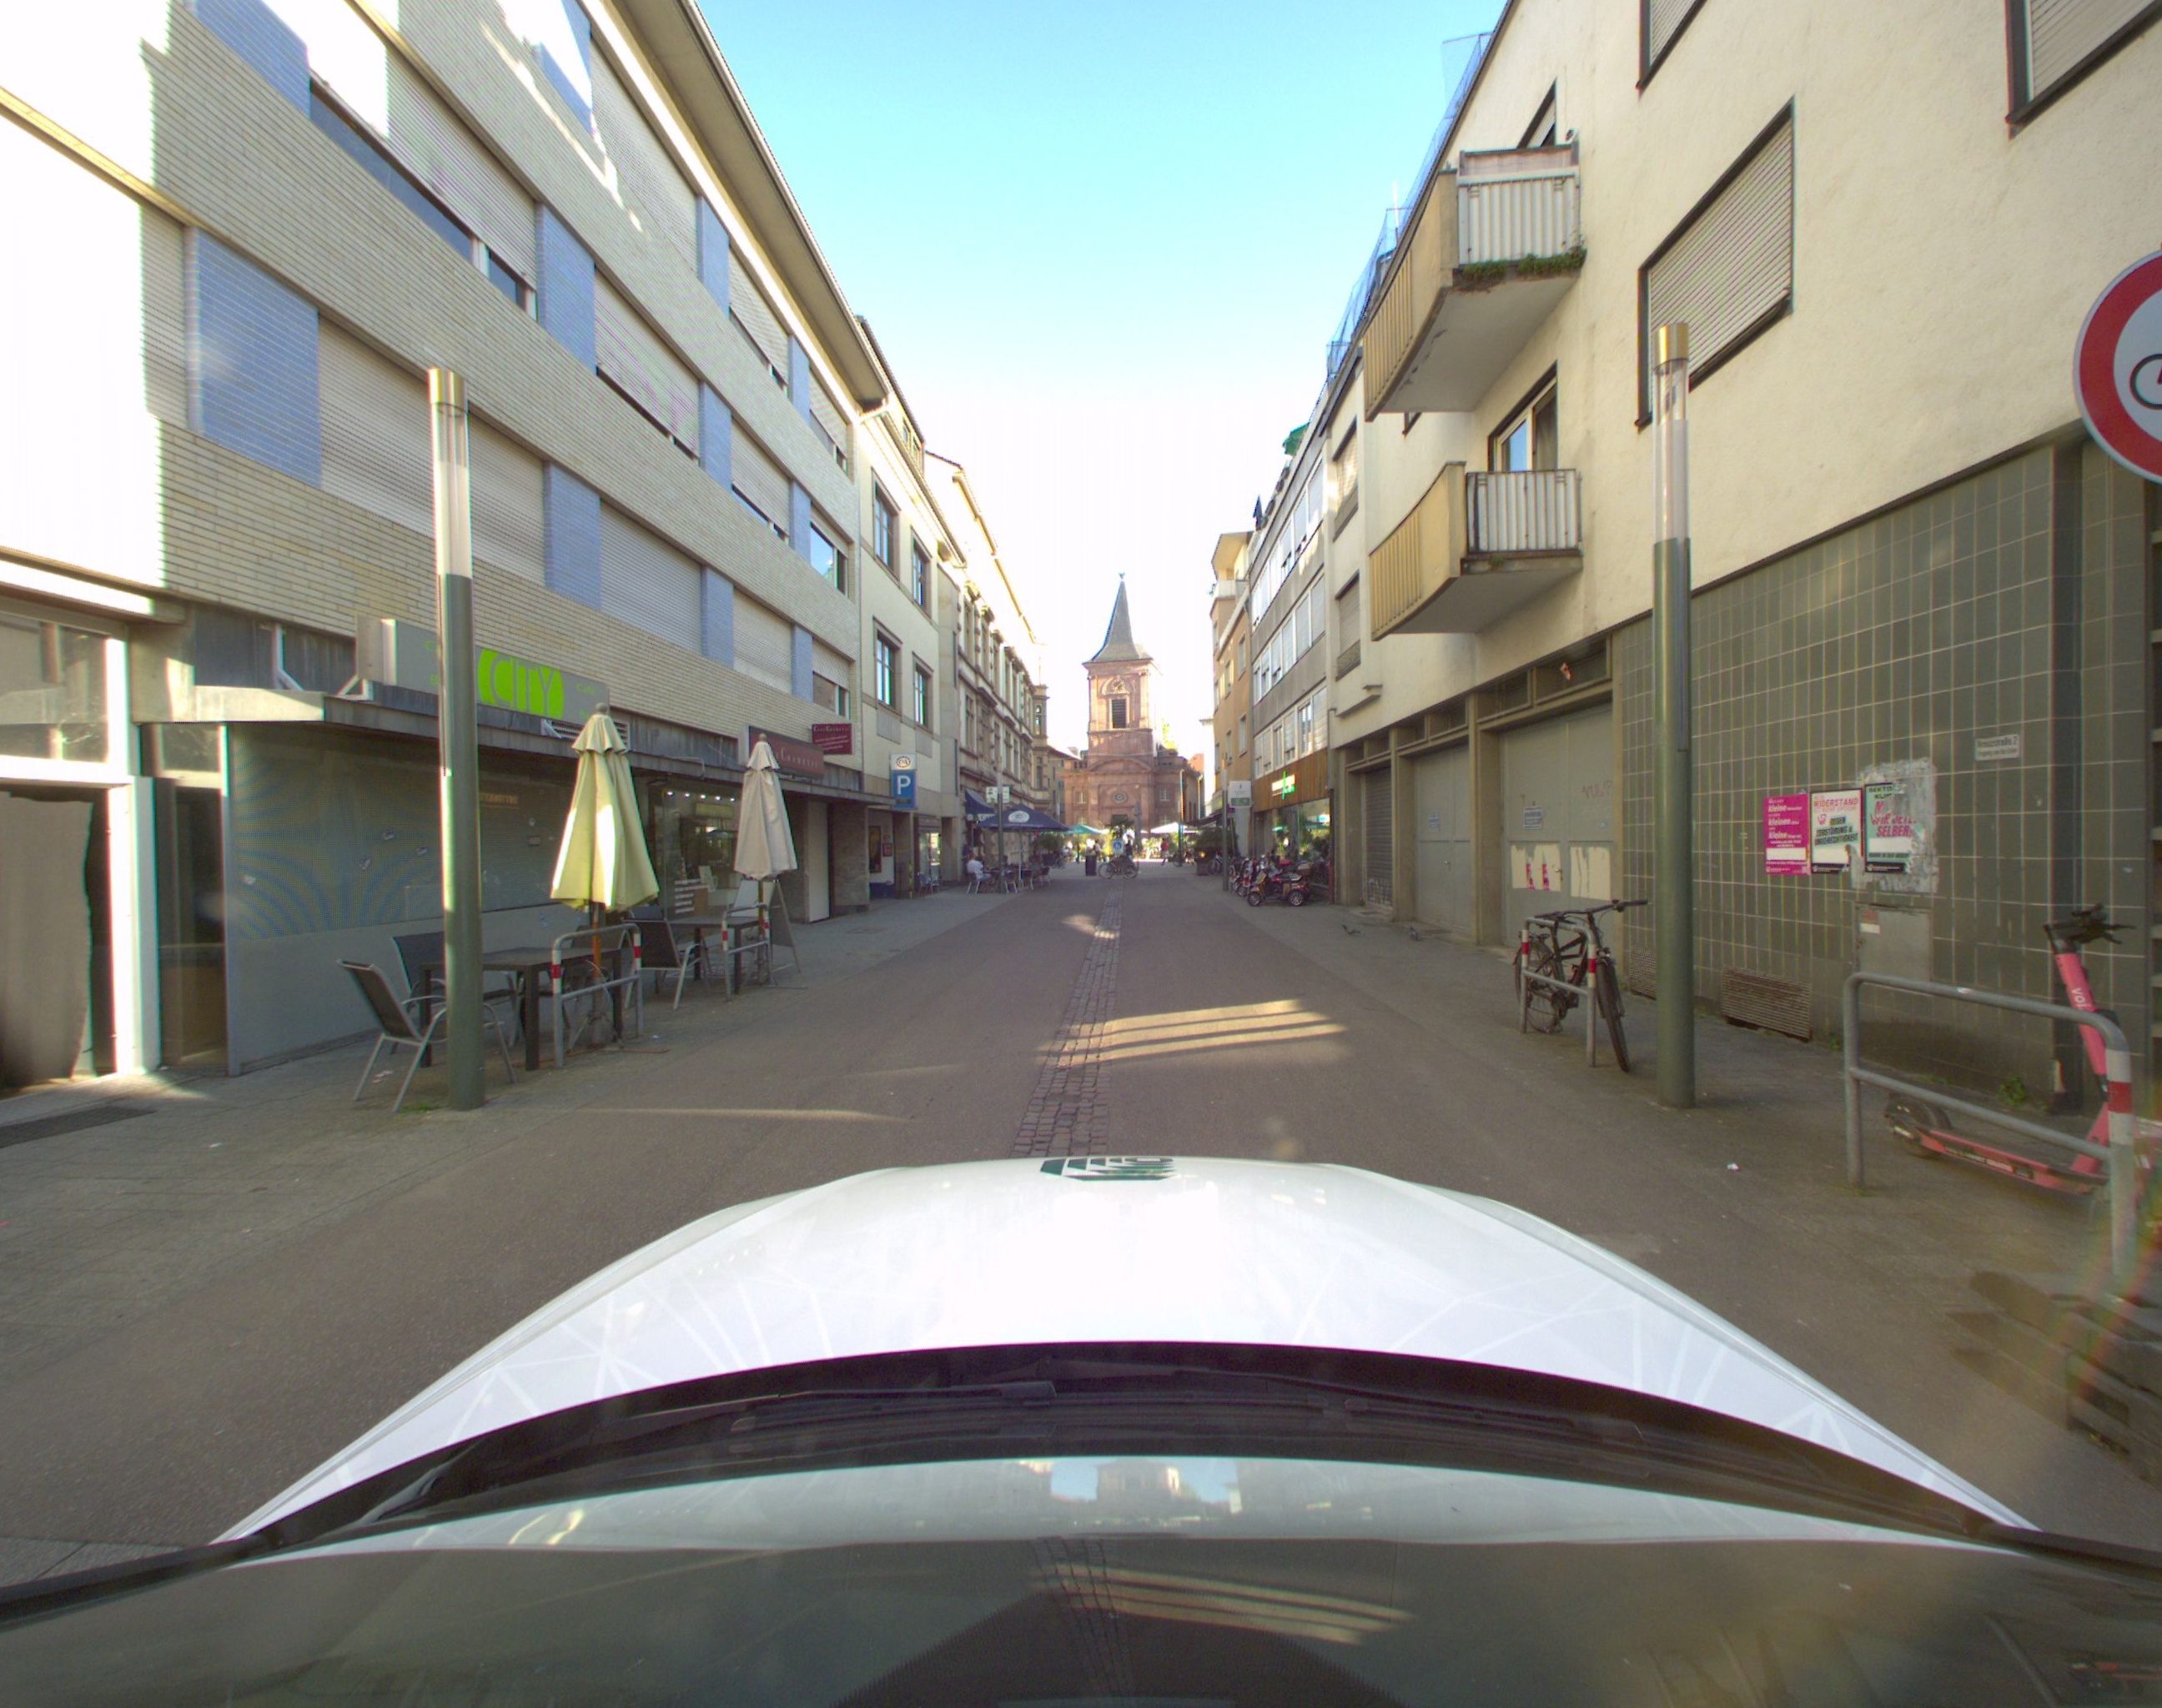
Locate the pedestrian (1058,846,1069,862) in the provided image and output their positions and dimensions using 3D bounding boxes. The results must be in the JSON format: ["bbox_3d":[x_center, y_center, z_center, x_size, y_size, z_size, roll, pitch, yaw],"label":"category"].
[{"bbox_3d":[-1.354,0.009,63.747,0.696,1.218,0.721,-1,0,9],"label":"pedestrian"}]

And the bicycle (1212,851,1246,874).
[{"bbox_3d":[6.597,0.386,36.388,1.454,1.005,0.574,-1,0,10],"label":"bicycle"}]

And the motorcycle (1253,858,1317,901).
[{"bbox_3d":[5.172,0.648,20.654,1.503,1.075,0.414,-1,0,21],"label":"motorcycle"}]

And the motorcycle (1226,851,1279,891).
[{"bbox_3d":[5.144,0.508,24.456,1.472,1.181,0.414,-1,0,18],"label":"motorcycle"}]

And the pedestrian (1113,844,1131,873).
[{"bbox_3d":[2.114,0.219,41.586,0.880,1.464,0.731,-1,0,3],"label":"pedestrian"}]

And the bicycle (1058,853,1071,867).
[{"bbox_3d":[-1.004,0.355,49.488,0.454,0.850,2.150,-1,1,7],"label":"bicycle"}]

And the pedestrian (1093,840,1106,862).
[{"bbox_3d":[1.316,-0.215,58.744,0.778,1.555,0.537,-1,0,16],"label":"pedestrian"}]

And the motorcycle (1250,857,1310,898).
[{"bbox_3d":[5.301,0.630,21.674,1.471,1.075,0.414,-1,0,21],"label":"motorcycle"}]

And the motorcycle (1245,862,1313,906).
[{"bbox_3d":[4.825,0.733,19.897,1.550,1.041,0.374,-1,0,21],"label":"motorcycle"}]

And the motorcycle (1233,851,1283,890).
[{"bbox_3d":[5.545,0.531,25.567,1.472,1.181,0.414,-1,0,18],"label":"motorcycle"}]

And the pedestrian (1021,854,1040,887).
[{"bbox_3d":[-1.894,0.614,30.395,0.691,1.215,0.582,-1,1,-5],"label":"pedestrian"}]

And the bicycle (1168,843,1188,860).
[{"bbox_3d":[7.445,-0.208,62.632,1.594,1.308,0.362,-1,1,-26],"label":"bicycle"}]

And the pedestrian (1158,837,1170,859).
[{"bbox_3d":[6.214,-0.449,60.975,0.614,1.641,0.651,-1,1,-30],"label":"pedestrian"}]

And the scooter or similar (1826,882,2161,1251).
[{"bbox_3d":[3.933,0.772,3.503,0.306,1.252,1.239,-1,0,0],"label":"scooter or similar"}]

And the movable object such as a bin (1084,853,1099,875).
[{"bbox_3d":[0.523,0.502,40.402,0.719,1.074,0.374,-1,0,1],"label":"movable object such as a bin"}]

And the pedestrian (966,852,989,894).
[{"bbox_3d":[-3.433,0.622,26.900,0.708,1.368,0.718,-1,1,-9],"label":"pedestrian"}]

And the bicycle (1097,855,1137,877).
[{"bbox_3d":[1.644,0.544,37.478,1.818,1.005,0.381,-1,0,-1],"label":"bicycle"}]

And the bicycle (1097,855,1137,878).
[{"bbox_3d":[1.643,0.559,37.077,1.818,1.005,0.381,-1,0,-1],"label":"bicycle"}]

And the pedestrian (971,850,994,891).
[{"bbox_3d":[-3.379,0.564,27.940,0.717,1.368,0.708,-1,1,-9],"label":"pedestrian"}]

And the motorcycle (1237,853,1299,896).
[{"bbox_3d":[5.253,0.577,22.899,1.611,1.175,0.483,-1,0,21],"label":"motorcycle"}]

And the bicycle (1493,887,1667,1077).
[{"bbox_3d":[3.578,0.840,5.992,0.444,1.140,1.714,0,-1,8],"label":"bicycle"}]

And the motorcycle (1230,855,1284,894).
[{"bbox_3d":[5.102,0.595,23.631,1.471,1.075,0.414,-1,0,21],"label":"motorcycle"}]

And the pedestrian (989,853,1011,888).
[{"bbox_3d":[-2.951,0.583,29.758,0.763,1.233,0.830,-1,1,-5],"label":"pedestrian"}]
